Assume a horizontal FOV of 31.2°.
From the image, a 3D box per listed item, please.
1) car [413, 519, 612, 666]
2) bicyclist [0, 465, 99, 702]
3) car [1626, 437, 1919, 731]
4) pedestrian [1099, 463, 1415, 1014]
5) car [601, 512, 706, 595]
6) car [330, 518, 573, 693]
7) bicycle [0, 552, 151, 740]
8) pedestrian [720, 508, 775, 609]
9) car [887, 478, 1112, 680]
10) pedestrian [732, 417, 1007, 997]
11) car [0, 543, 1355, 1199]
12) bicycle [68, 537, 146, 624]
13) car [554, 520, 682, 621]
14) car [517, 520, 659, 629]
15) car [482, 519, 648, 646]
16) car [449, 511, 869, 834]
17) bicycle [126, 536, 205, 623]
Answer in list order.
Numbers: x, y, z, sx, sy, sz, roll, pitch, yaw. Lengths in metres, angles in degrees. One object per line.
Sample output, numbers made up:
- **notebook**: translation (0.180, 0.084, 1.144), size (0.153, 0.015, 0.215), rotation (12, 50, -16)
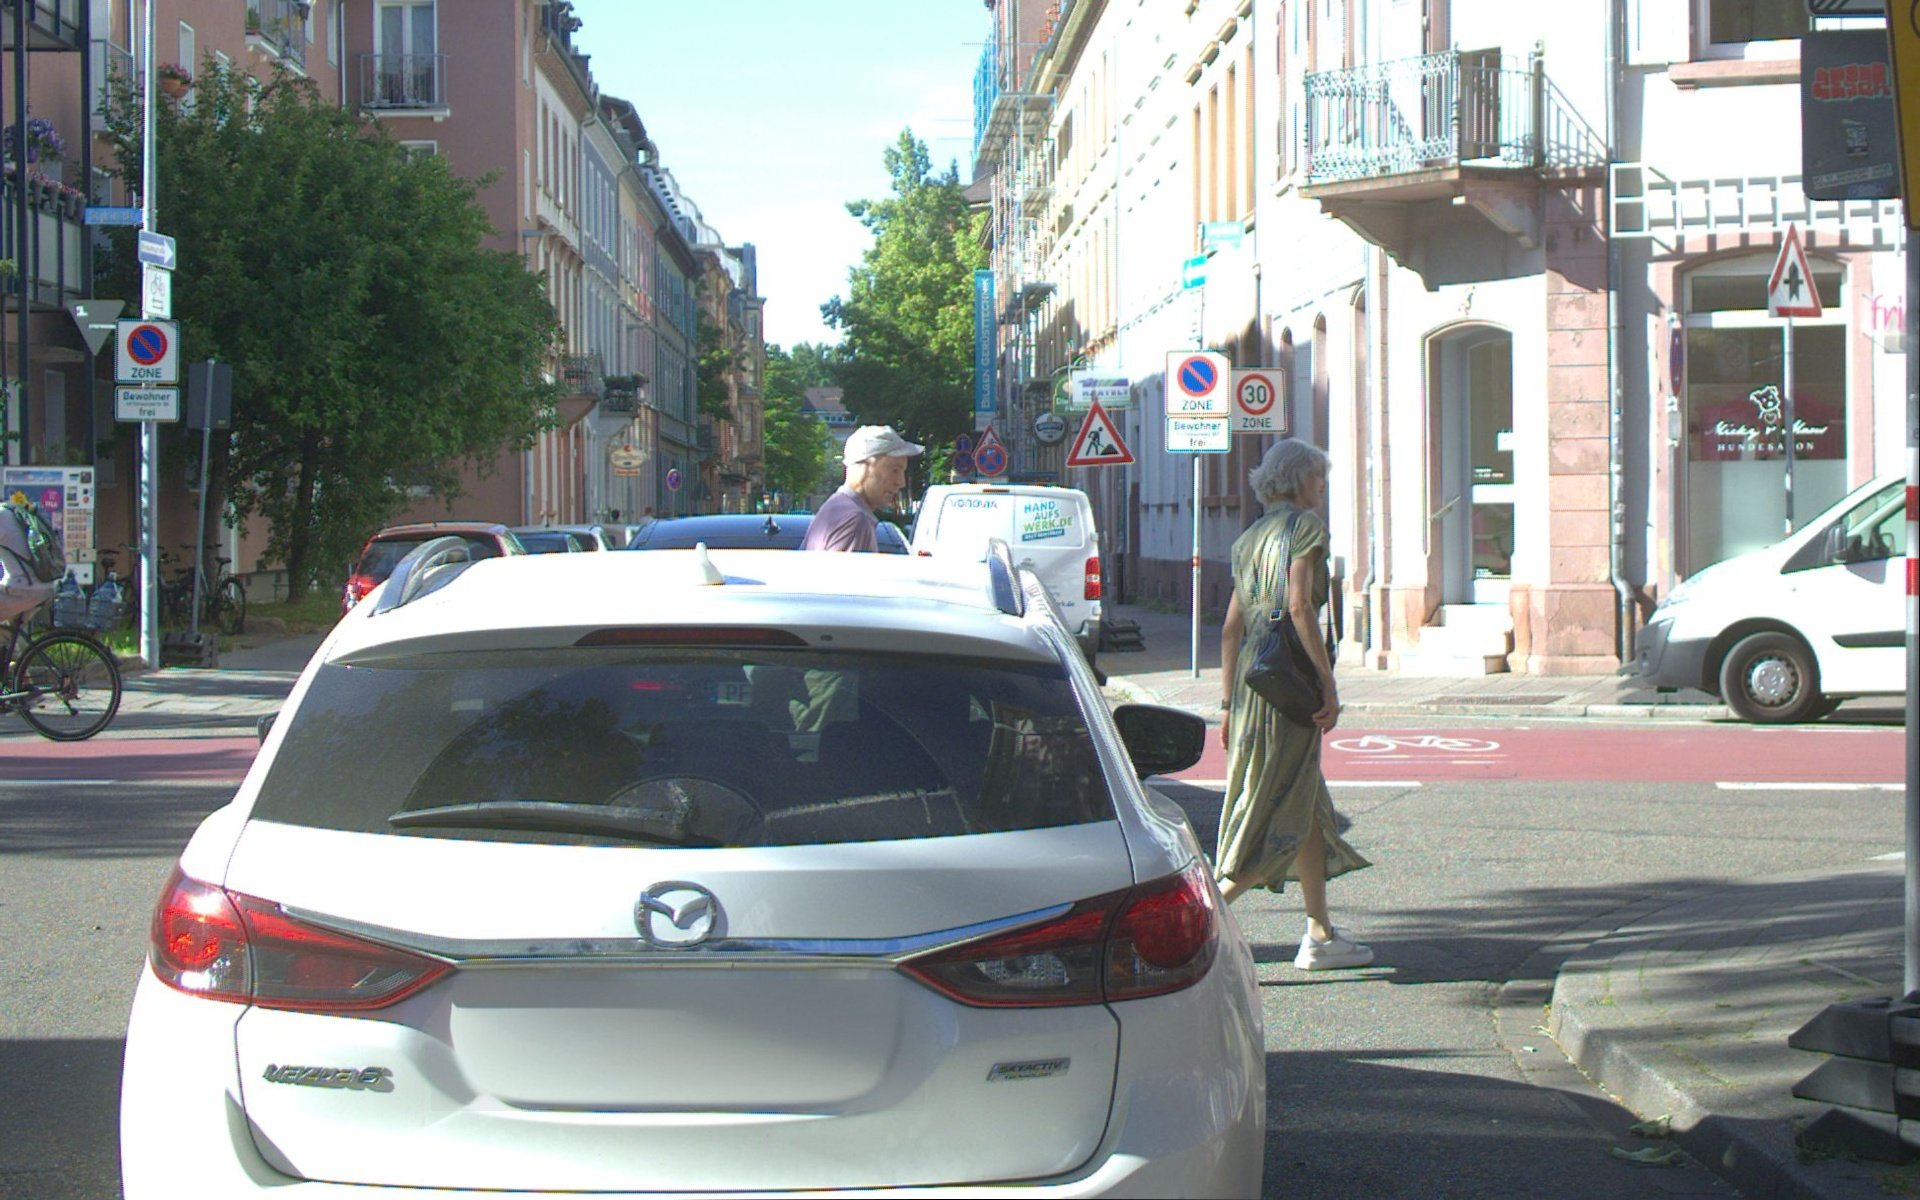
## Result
- **car**: translation (-4.796, -0.122, 37.294), size (1.653, 1.495, 4.080), rotation (0, 1, -1)
- **bicyclist**: translation (-6.215, -0.110, 22.343), size (1.042, 1.514, 0.739), rotation (0, 1, -1)
- **car**: translation (7.239, -0.127, 23.410), size (5.015, 1.939, 2.049), rotation (0, 1, 22)
- **pedestrian**: translation (0.940, 0.428, 11.040), size (0.836, 1.661, 0.626), rotation (-4, 1, 0)
- **car**: translation (-5.656, -0.884, 63.761), size (1.653, 1.495, 3.763), rotation (0, 1, -1)
- **car**: translation (-4.584, 0.004, 31.430), size (1.685, 1.495, 3.807), rotation (0, 1, -1)
- **bicycle**: translation (-6.311, 0.296, 22.357), size (1.947, 1.193, 0.630), rotation (0, 1, -1)
- **pedestrian**: translation (-3.424, -0.673, 55.462), size (0.733, 1.608, 0.816), rotation (-1, 1, -13)
- **car**: translation (0.323, -0.264, 35.041), size (1.894, 1.853, 5.015), rotation (2, 1, -3)
- **pedestrian**: translation (-0.284, 0.324, 11.078), size (0.749, 1.758, 0.831), rotation (-3, 1, 0)
- **car**: translation (-0.407, 0.637, 6.612), size (1.831, 1.452, 3.963), rotation (0, 1, -1)
- **bicycle**: translation (-10.633, -0.251, 42.842), size (1.215, 1.067, 0.253), rotation (1, 2, 38)
- **car**: translation (-5.275, -0.485, 53.386), size (1.653, 1.495, 3.763), rotation (0, 1, -1)
- **car**: translation (-5.283, -0.396, 49.179), size (1.653, 1.495, 3.763), rotation (0, 1, -1)
- **car**: translation (-4.863, -0.254, 42.724), size (1.653, 1.495, 3.763), rotation (0, 1, -1)
- **car**: translation (-1.371, 0.266, 17.201), size (1.760, 1.405, 4.328), rotation (0, 1, -1)
- **bicycle**: translation (-9.979, -0.263, 43.169), size (1.218, 1.068, 0.253), rotation (1, 2, 38)
